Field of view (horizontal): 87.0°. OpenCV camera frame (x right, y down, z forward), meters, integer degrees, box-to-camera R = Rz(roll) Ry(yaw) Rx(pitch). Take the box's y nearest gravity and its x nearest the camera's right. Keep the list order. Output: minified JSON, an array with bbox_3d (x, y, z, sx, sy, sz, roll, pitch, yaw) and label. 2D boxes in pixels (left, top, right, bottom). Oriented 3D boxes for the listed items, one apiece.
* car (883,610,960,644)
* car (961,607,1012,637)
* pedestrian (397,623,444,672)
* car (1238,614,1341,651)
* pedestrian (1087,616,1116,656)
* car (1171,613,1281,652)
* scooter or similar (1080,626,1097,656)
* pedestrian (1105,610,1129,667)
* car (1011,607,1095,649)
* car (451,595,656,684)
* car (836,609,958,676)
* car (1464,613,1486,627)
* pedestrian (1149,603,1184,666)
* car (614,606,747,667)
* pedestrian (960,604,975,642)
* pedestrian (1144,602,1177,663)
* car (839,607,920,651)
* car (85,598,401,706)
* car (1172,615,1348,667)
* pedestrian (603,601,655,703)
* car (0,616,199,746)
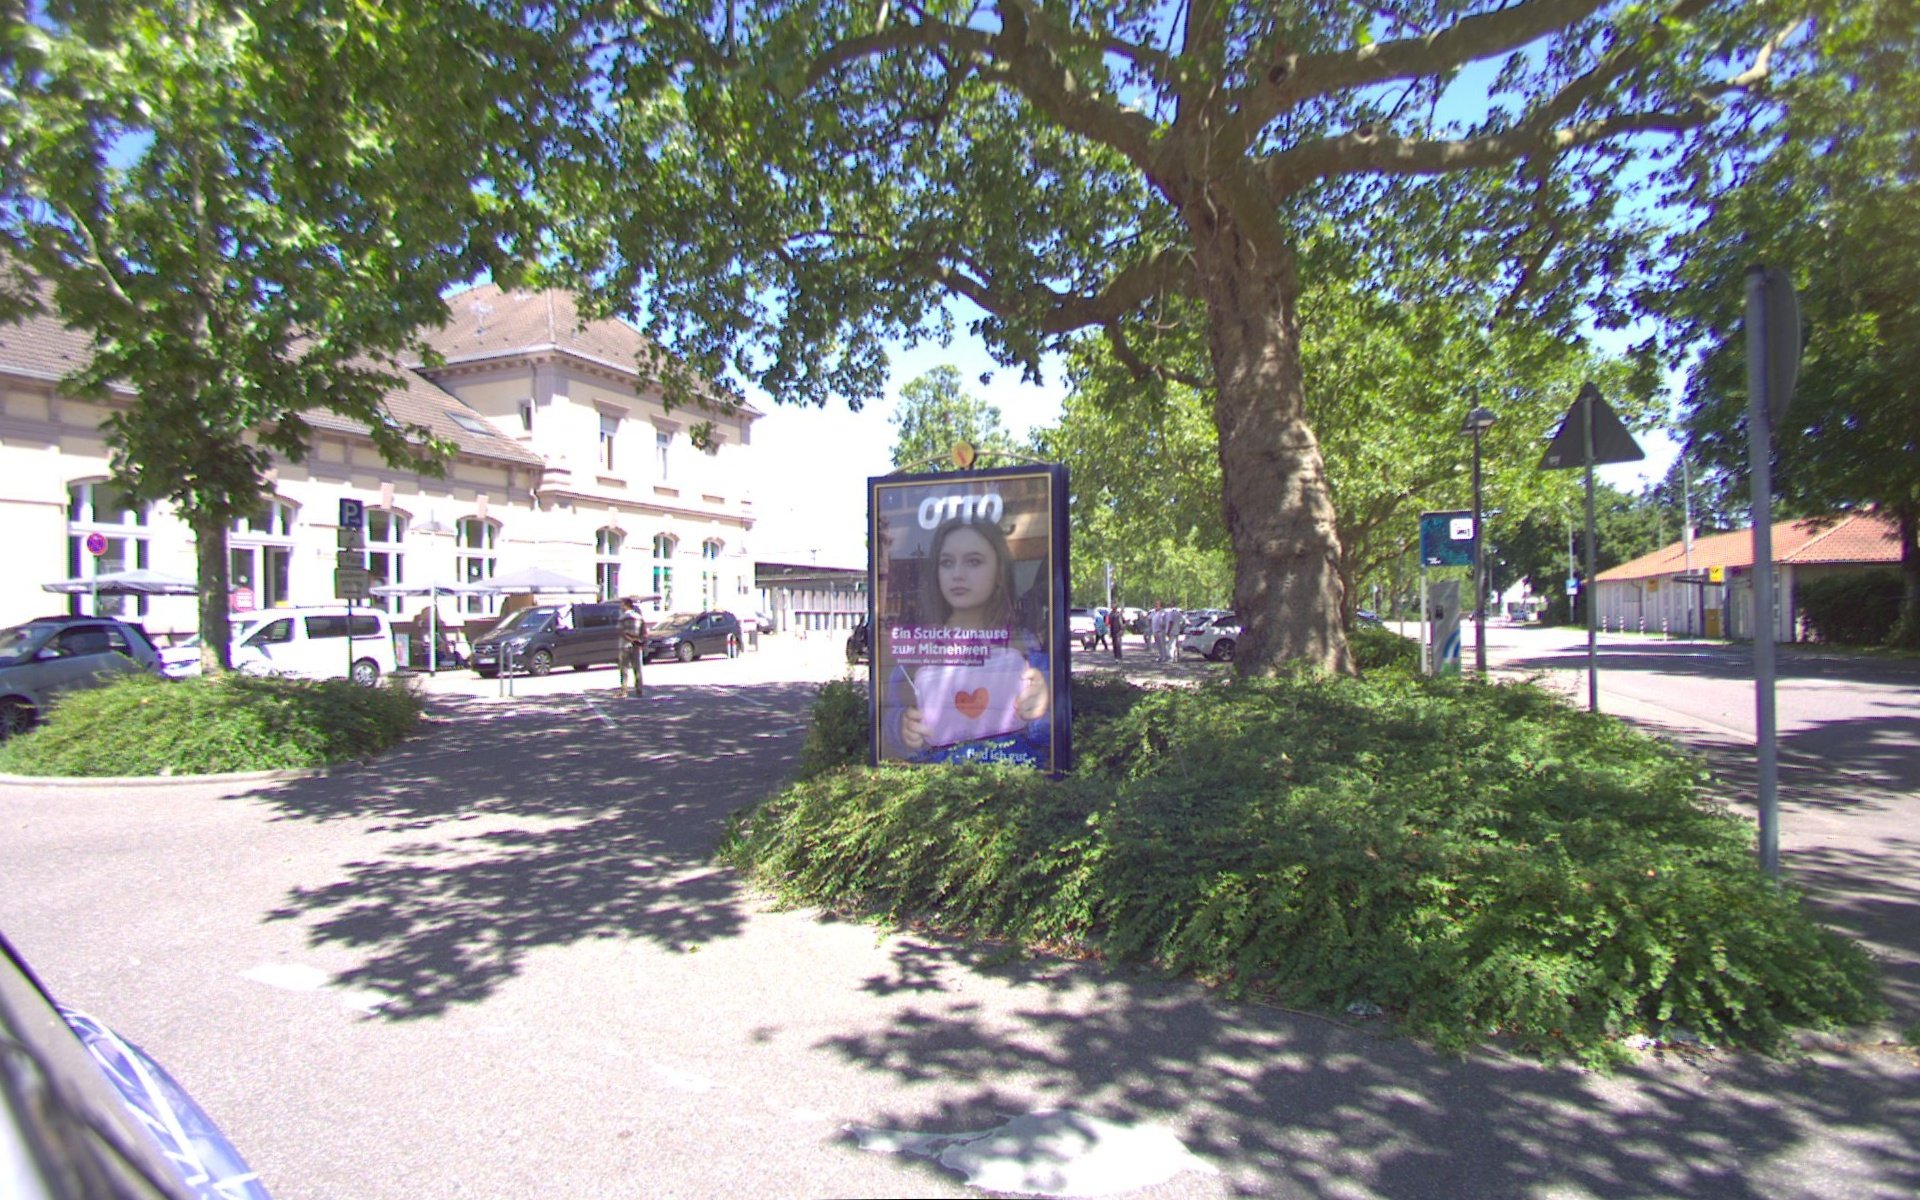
[{"bbox_3d":[-2.725,1.913,70.878,4.928,2.136,2.037,-3,-2,21],"label":"car"},{"bbox_3d":[1.798,1.456,67.278,1.987,1.803,4.216,-4,-1,22],"label":"car"},{"bbox_3d":[-15.892,1.384,29.806,0.874,1.381,0.847,0,-1,18],"label":"pedestrian"},{"bbox_3d":[14.036,1.383,43.257,3.816,1.471,1.639,-1,-1,-6],"label":"car"},{"bbox_3d":[5.147,1.314,36.831,0.789,1.435,0.692,0,-2,-42],"label":"pedestrian"},{"bbox_3d":[10.422,1.265,39.813,3.816,1.471,1.639,-1,-1,-6],"label":"car"},{"bbox_3d":[4.735,1.512,37.296,0.431,1.110,0.404,0,-2,-39],"label":"scooter or similar"},{"bbox_3d":[4.374,1.066,28.220,0.585,1.560,0.607,0,-1,18],"label":"pedestrian"},{"bbox_3d":[3.874,1.141,43.027,1.769,1.617,4.077,-2,1,-24],"label":"car"},{"bbox_3d":[-10.849,1.057,27.597,2.075,2.140,5.794,-2,-2,16],"label":"car"},{"bbox_3d":[-1.815,1.074,27.489,1.769,1.554,4.545,-2,1,-25],"label":"car"},{"bbox_3d":[63.382,2.454,124.685,1.915,1.677,3.973,-1,-1,20],"label":"car"},{"bbox_3d":[5.998,1.002,29.399,0.827,1.784,0.851,-1,-1,1],"label":"pedestrian"},{"bbox_3d":[-9.140,1.195,33.570,2.062,1.854,4.814,-2,-2,16],"label":"car"},{"bbox_3d":[0.409,1.250,54.922,0.623,2.005,0.614,-3,-2,16],"label":"pedestrian"},{"bbox_3d":[6.028,0.971,30.437,0.828,1.784,0.851,-1,-1,3],"label":"pedestrian"},{"bbox_3d":[-3.665,1.312,47.303,1.986,1.854,5.290,-3,-2,16],"label":"car"},{"bbox_3d":[-14.076,0.995,20.329,1.801,1.880,5.106,-2,-2,19],"label":"car"},{"bbox_3d":[8.854,1.209,30.173,4.715,1.427,1.785,-1,-1,3],"label":"car"},{"bbox_3d":[-5.814,0.900,17.759,0.760,1.730,0.817,0,-1,-25],"label":"pedestrian"},{"bbox_3d":[-12.446,1.034,13.762,1.586,1.605,3.093,-1,-1,13],"label":"car"}]
